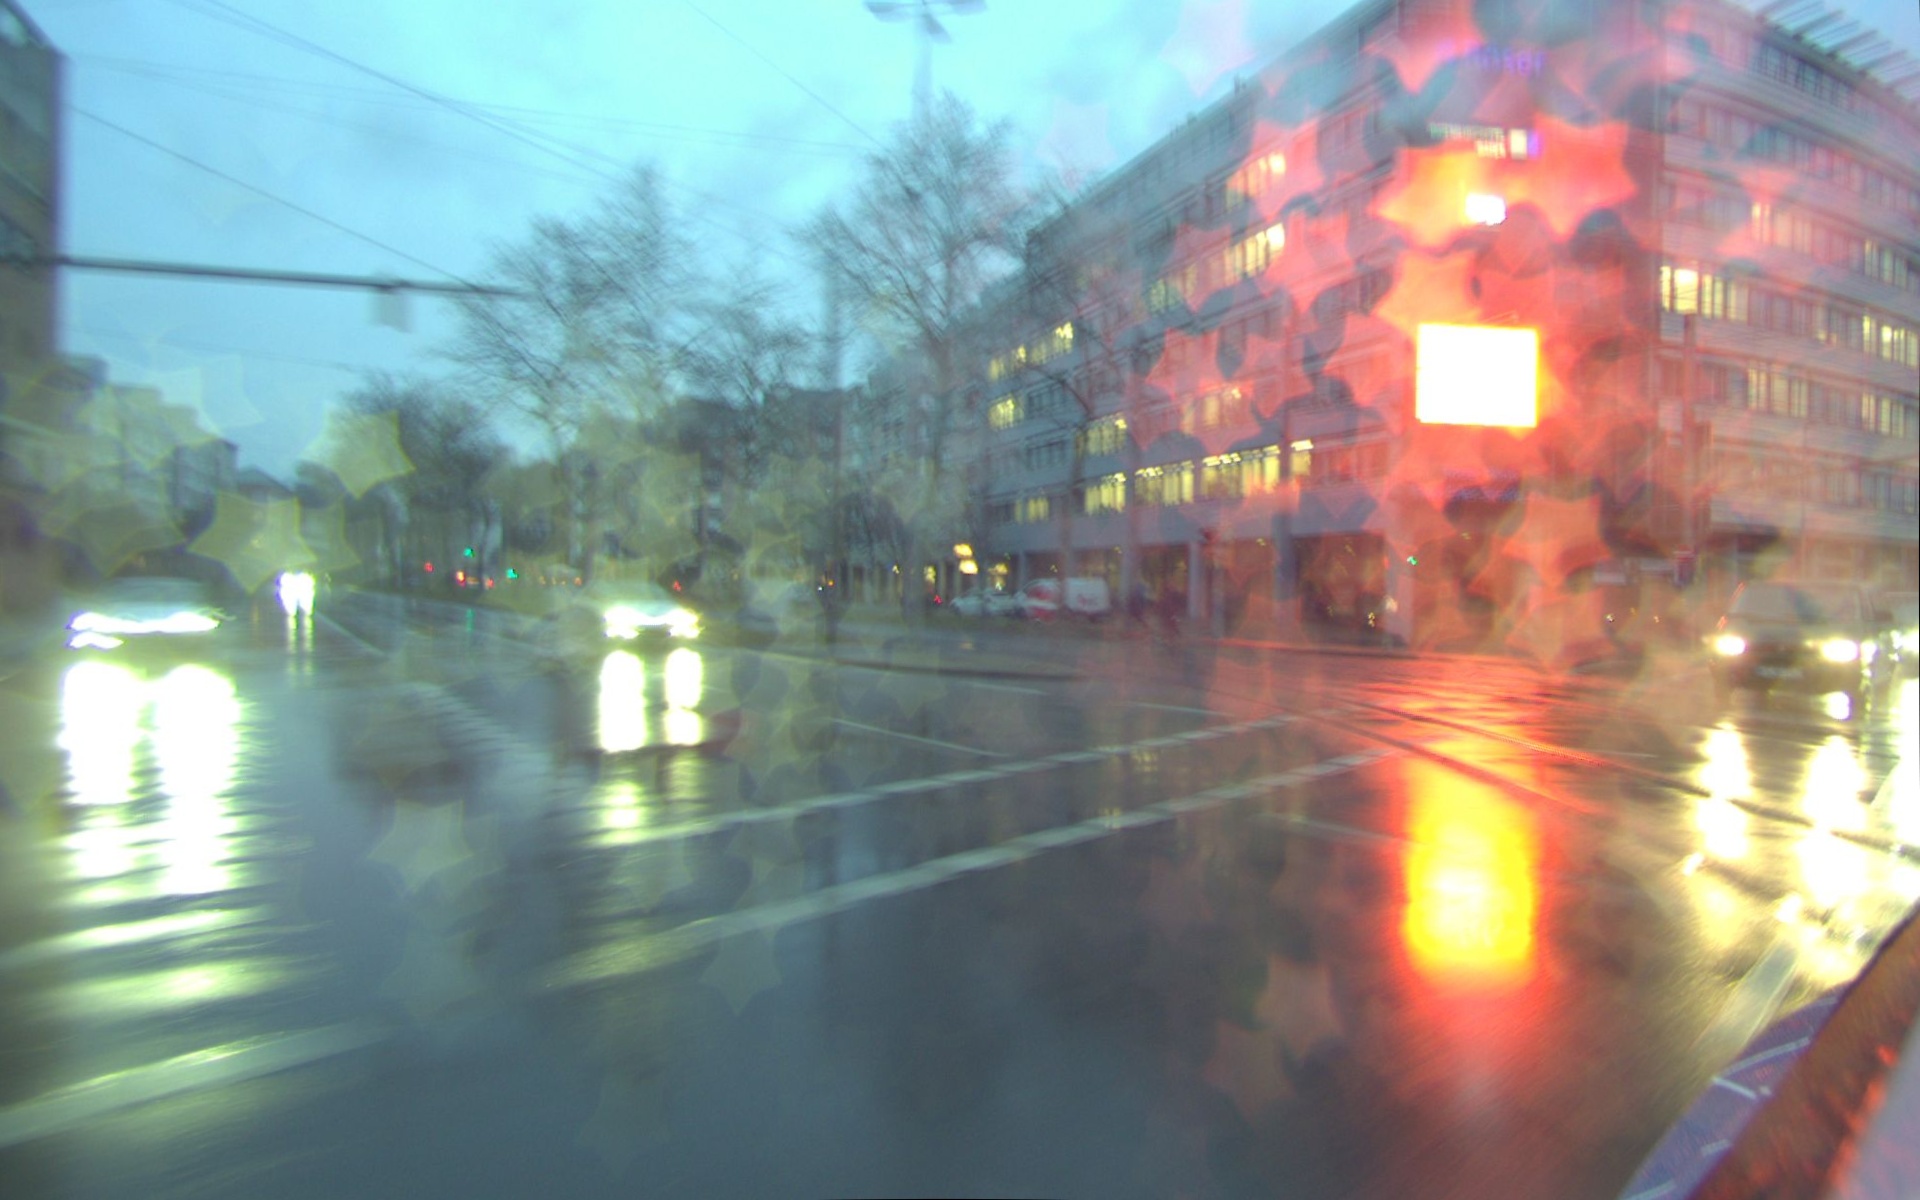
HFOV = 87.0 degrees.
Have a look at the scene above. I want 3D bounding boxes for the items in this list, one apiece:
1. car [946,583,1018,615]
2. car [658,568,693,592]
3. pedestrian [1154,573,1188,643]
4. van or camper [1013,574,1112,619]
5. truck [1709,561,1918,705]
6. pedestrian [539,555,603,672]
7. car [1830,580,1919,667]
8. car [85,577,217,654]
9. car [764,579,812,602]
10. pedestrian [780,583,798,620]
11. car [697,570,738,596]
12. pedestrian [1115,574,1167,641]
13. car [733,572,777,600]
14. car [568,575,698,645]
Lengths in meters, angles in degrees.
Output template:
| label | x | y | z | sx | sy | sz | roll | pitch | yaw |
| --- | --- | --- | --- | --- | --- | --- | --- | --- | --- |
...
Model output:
| label | x | y | z | sx | sy | sz | roll | pitch | yaw |
| --- | --- | --- | --- | --- | --- | --- | --- | --- | --- |
| car | 1.063 | -0.054 | 50.958 | 1.612 | 1.547 | 3.843 | 1 | 0 | -36 |
| car | -24.328 | -1.742 | 86.564 | 1.806 | 1.975 | 4.003 | 0 | 2 | -33 |
| pedestrian | 5.651 | 0.205 | 27.043 | 0.790 | 1.834 | 0.647 | 1 | 0 | 19 |
| van or camper | 4.595 | -0.166 | 46.096 | 1.807 | 1.953 | 4.747 | 1 | 0 | -36 |
| truck | 13.480 | 0.448 | 15.878 | 4.537 | 1.941 | 1.907 | 1 | 0 | -42 |
| pedestrian | -6.220 | 0.205 | 16.185 | 0.722 | 1.809 | 0.735 | 1 | 0 | -41 |
| car | 22.141 | 0.536 | 23.107 | 4.593 | 1.843 | 1.913 | 1 | -1 | -28 |
| car | -15.916 | 0.243 | 20.087 | 1.780 | 1.326 | 3.995 | 1 | 1 | -35 |
| car | -11.715 | -0.659 | 68.844 | 1.806 | 1.451 | 4.003 | 0 | 2 | -33 |
| pedestrian | -6.472 | 0.066 | 38.253 | 0.469 | 1.381 | 0.608 | 1 | 0 | -29 |
| car | -18.783 | -1.325 | 78.270 | 1.806 | 1.975 | 4.003 | 0 | 2 | -33 |
| pedestrian | 4.992 | 0.193 | 27.889 | 1.129 | 1.809 | 0.778 | 1 | 0 | -29 |
| car | -14.871 | -1.027 | 73.368 | 1.806 | 1.975 | 4.003 | 0 | 2 | -33 |
| car | -7.616 | 0.170 | 23.328 | 1.779 | 1.357 | 3.996 | 1 | 2 | -34 |
